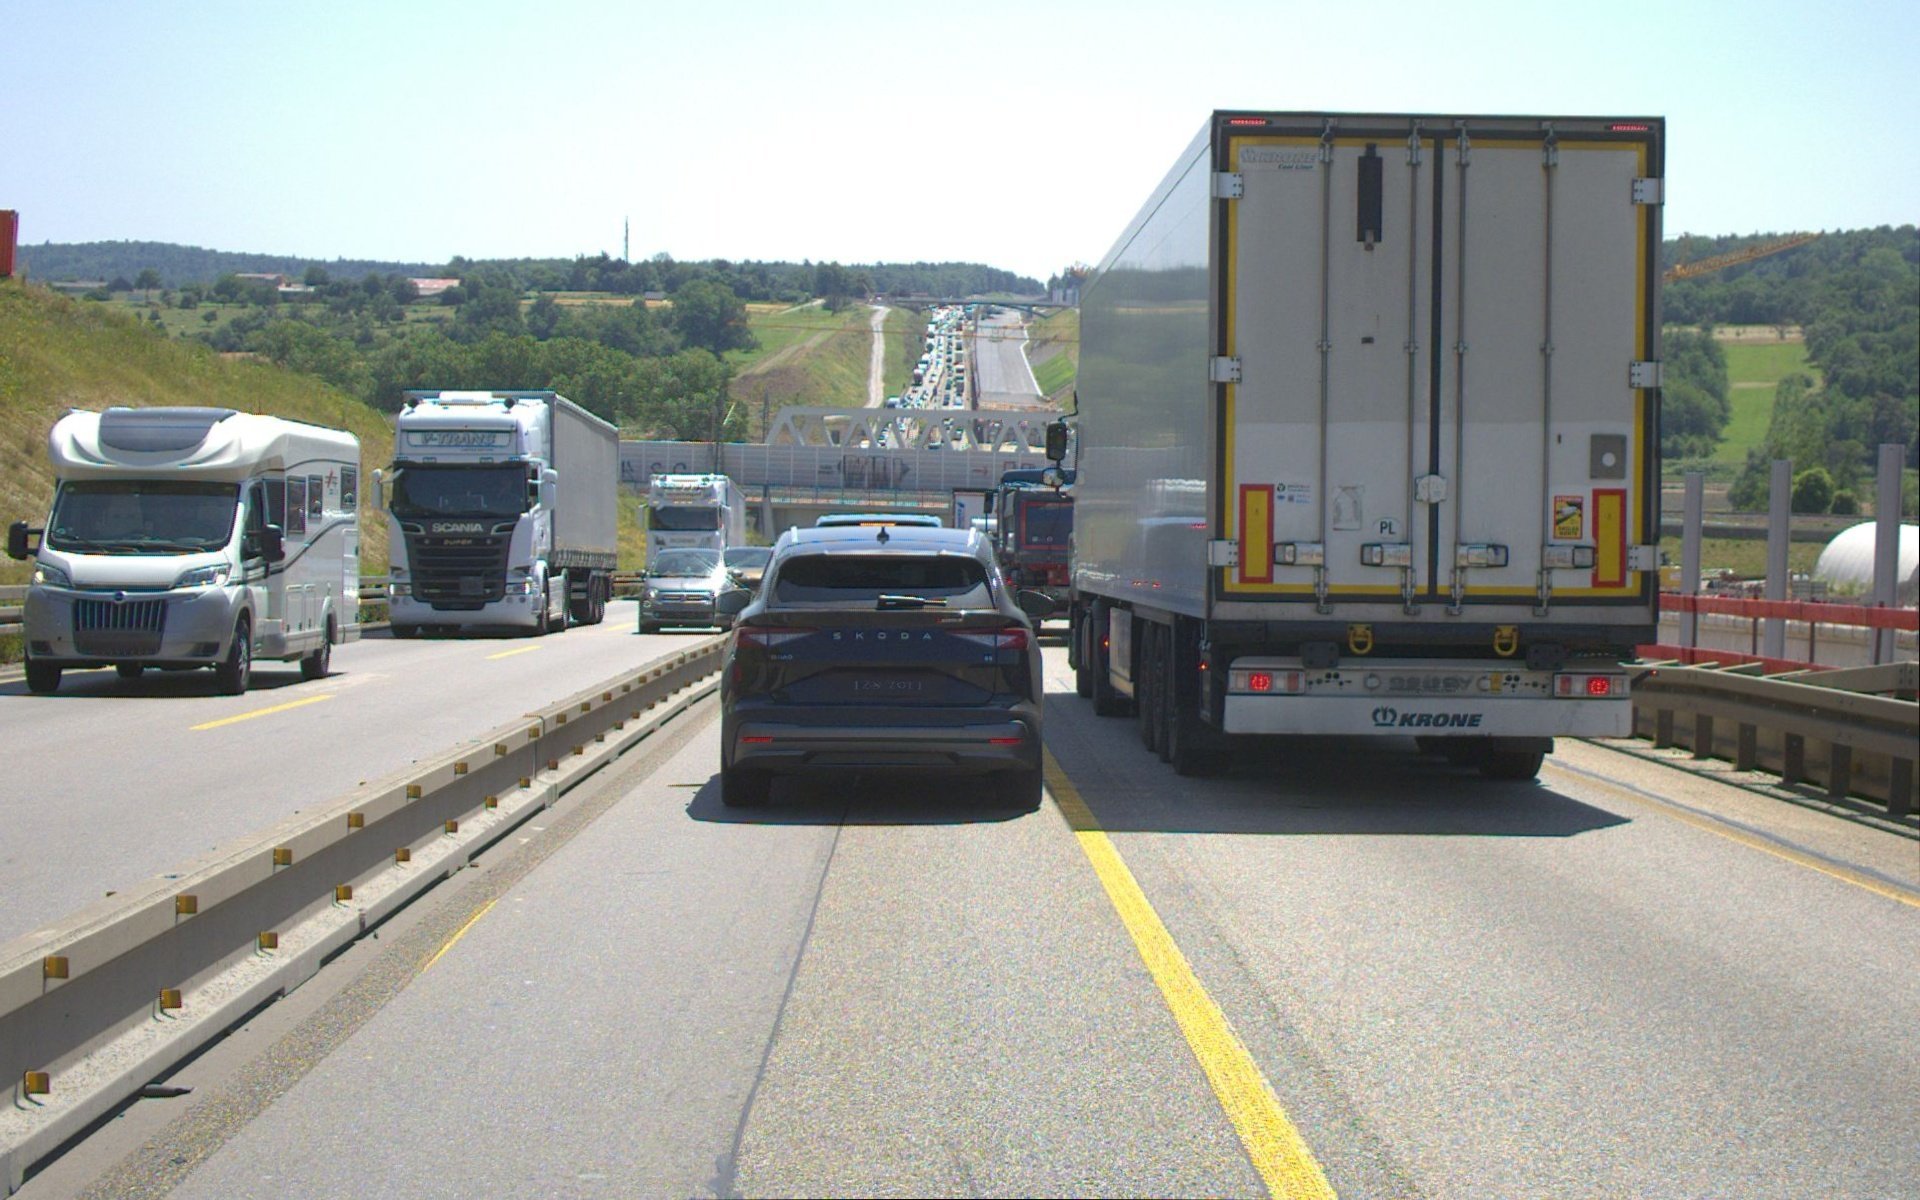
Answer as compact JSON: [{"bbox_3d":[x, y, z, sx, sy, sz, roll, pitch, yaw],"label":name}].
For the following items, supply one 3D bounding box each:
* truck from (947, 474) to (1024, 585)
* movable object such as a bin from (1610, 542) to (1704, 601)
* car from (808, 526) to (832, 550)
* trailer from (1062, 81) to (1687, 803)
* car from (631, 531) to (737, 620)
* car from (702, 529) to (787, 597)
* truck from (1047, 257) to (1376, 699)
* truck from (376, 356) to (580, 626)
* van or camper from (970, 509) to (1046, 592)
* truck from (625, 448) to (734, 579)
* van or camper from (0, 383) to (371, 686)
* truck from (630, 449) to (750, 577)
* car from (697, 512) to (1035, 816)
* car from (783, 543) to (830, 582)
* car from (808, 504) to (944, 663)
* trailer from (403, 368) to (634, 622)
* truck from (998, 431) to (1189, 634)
[{"bbox_3d":[0.902,-2.635,128.619,2.517,3.946,7.600,2,1,-1],"label":"truck"},{"bbox_3d":[35.637,-1.454,176.119,2.887,2.899,9.479,1,1,0],"label":"movable object such as a bin"},{"bbox_3d":[-10.554,-4.670,259.945,1.732,1.787,3.581,1,1,-1],"label":"car"},{"bbox_3d":[2.545,-0.936,26.425,2.801,4.044,14.117,0,0,-1],"label":"trailer"},{"bbox_3d":[-4.800,-0.444,60.079,1.628,1.474,3.380,1,1,-1],"label":"car"},{"bbox_3d":[-5.223,-0.905,83.690,1.848,1.581,4.174,1,1,-1],"label":"car"},{"bbox_3d":[2.378,-1.135,34.097,2.776,4.044,4.905,0,0,-1],"label":"truck"},{"bbox_3d":[-7.989,-1.788,57.430,2.774,4.272,4.677,1,1,-1],"label":"truck"},{"bbox_3d":[1.325,-1.407,97.060,1.993,2.237,4.000,2,1,0],"label":"van or camper"},{"bbox_3d":[-9.079,-2.791,111.646,3.239,4.145,4.247,0,1,-1],"label":"truck"},{"bbox_3d":[-7.832,-0.681,35.506,2.334,2.768,7.518,1,1,-1],"label":"van or camper"},{"bbox_3d":[-9.224,-2.940,119.066,3.243,4.145,13.979,0,1,-1],"label":"truck"},{"bbox_3d":[-0.520,0.308,20.146,1.800,1.615,3.298,1,1,-1],"label":"car"},{"bbox_3d":[-6.658,-1.642,149.014,1.812,1.632,4.362,0,1,0],"label":"car"},{"bbox_3d":[-0.975,-0.225,41.003,1.475,1.789,3.298,1,1,1],"label":"car"},{"bbox_3d":[-8.164,-1.913,65.402,2.810,4.272,14.036,1,1,-1],"label":"trailer"},{"bbox_3d":[2.137,-1.101,59.707,2.814,3.124,12.838,0,1,0],"label":"truck"}]
